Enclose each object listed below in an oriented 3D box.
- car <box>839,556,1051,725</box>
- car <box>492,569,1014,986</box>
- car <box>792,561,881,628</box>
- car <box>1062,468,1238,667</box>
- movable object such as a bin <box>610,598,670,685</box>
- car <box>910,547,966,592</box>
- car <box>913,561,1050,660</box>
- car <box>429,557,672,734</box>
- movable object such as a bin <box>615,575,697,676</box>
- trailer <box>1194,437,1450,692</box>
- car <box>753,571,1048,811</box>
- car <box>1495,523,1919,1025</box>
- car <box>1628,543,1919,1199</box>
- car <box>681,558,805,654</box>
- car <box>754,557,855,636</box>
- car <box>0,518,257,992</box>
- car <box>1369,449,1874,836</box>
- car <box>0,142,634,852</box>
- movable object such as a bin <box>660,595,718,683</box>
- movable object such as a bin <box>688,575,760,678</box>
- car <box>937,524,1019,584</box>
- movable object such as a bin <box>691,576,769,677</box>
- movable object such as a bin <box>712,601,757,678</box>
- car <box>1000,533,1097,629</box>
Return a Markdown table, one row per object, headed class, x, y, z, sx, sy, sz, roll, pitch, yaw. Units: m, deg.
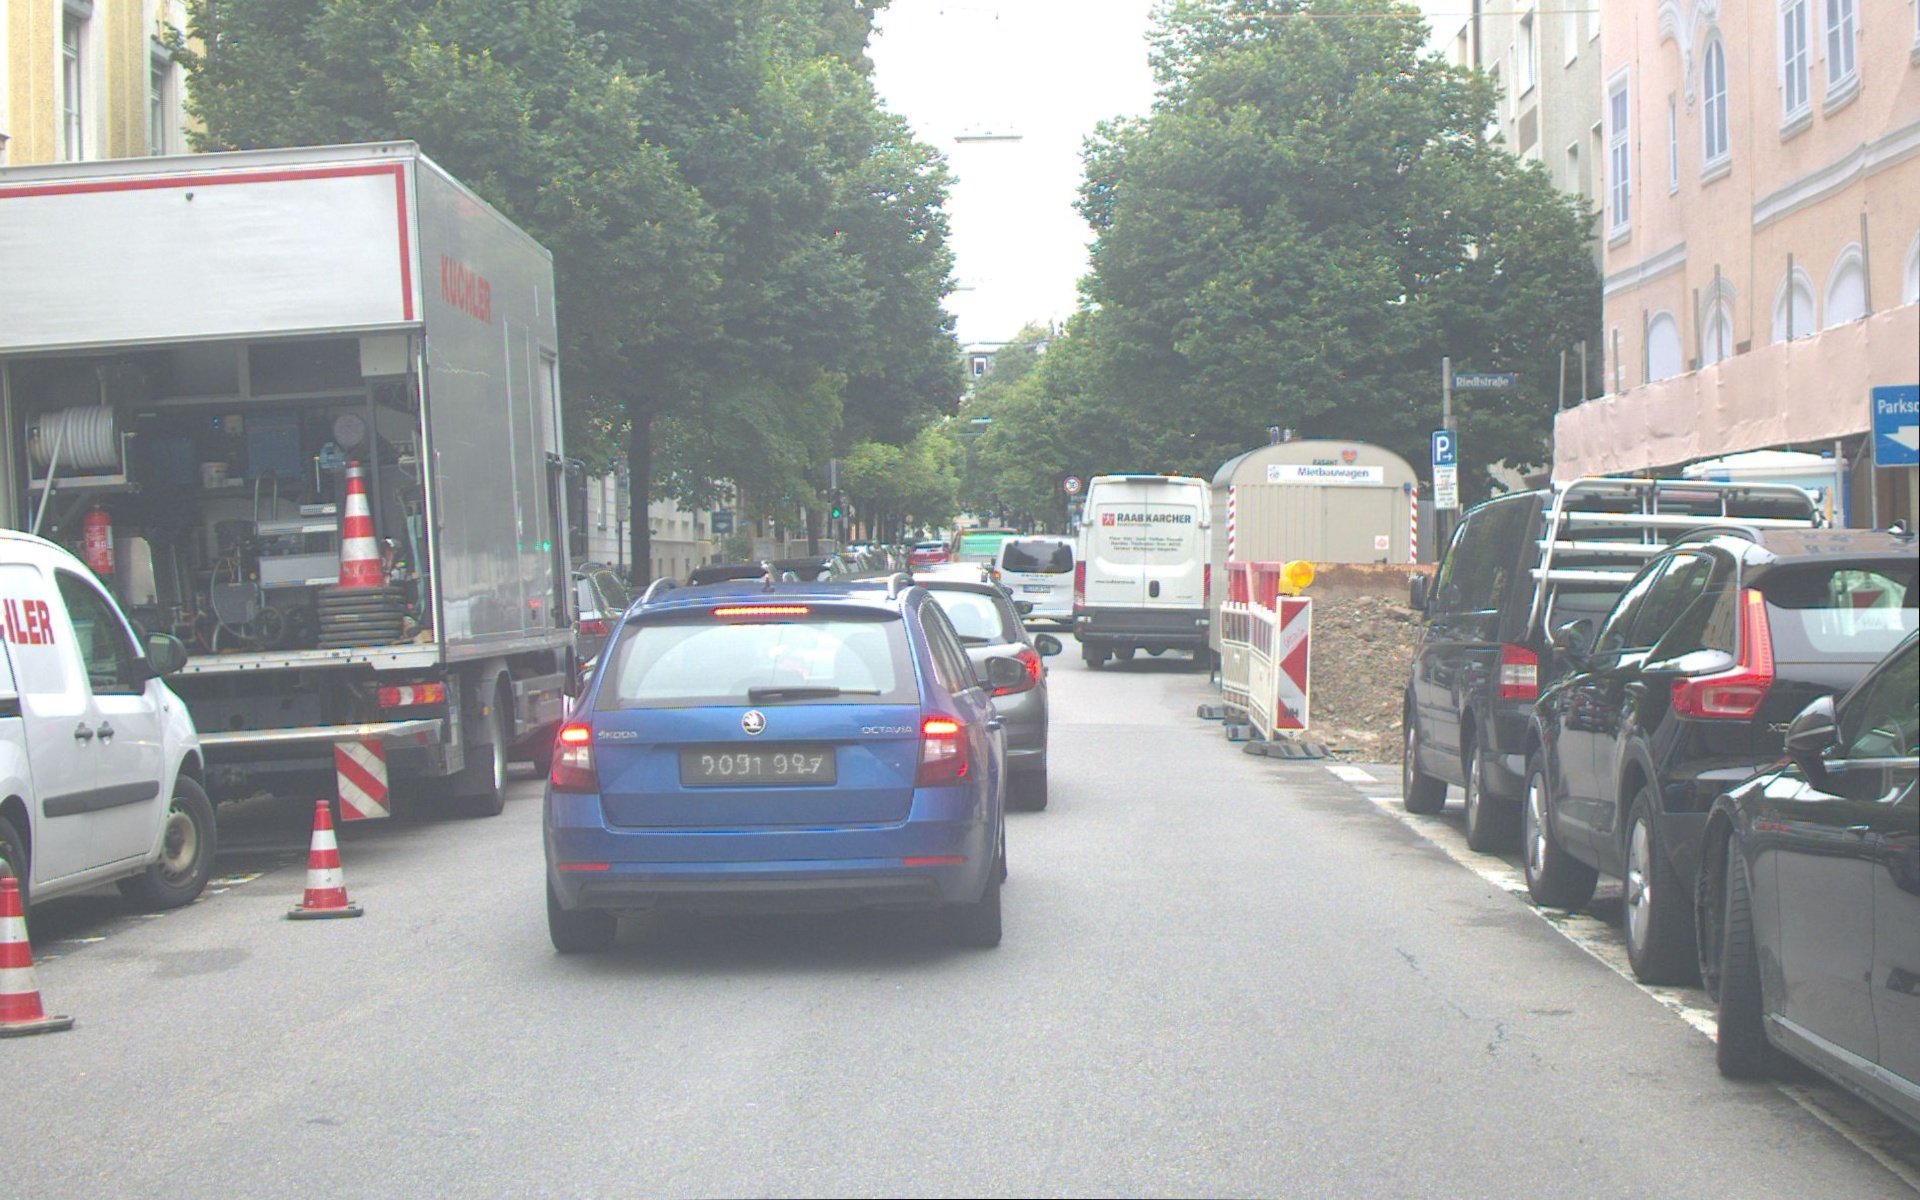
| class | x | y | z | sx | sy | sz | roll | pitch | yaw |
| --- | --- | --- | --- | --- | --- | --- | --- | --- | --- |
| car | -0.125 | 0.331 | 32.706 | 1.867 | 1.449 | 4.347 | 1 | 1 | 0 |
| car | -0.704 | 0.616 | 14.407 | 1.789 | 1.455 | 4.314 | -1 | 0 | 2 |
| car | -2.801 | -0.144 | 78.558 | 1.812 | 1.473 | 4.000 | 0 | 1 | 1 |
| car | 2.769 | -0.450 | 49.025 | 2.113 | 2.654 | 5.498 | 1 | 0 | 7 |
| movable object such as a bin | -4.375 | 0.561 | 47.025 | 0.721 | 1.134 | 0.658 | -3 | 1 | -2 |
| car | -0.840 | -1.185 | 132.655 | 2.008 | 1.647 | 4.347 | 1 | 1 | 1 |
| car | 0.362 | 0.127 | 50.837 | 1.867 | 1.343 | 4.347 | 1 | 1 | 2 |
| car | -4.056 | 0.408 | 34.671 | 1.785 | 1.623 | 4.185 | -2 | 1 | 2 |
| movable object such as a bin | -4.332 | 0.356 | 49.010 | 1.057 | 1.372 | 1.096 | -3 | 1 | -3 |
| trailer | 4.281 | -0.411 | 41.894 | 2.502 | 2.830 | 6.901 | 1 | 0 | 1 |
| car | -0.321 | 0.526 | 22.298 | 1.741 | 1.417 | 3.664 | 0 | 0 | 1 |
| car | 3.302 | 0.596 | 13.875 | 1.694 | 1.671 | 4.407 | 2 | 0 | 2 |
| car | 3.124 | 0.636 | 8.348 | 1.931 | 1.548 | 5.637 | 0 | 1 | 0 |
| car | -3.486 | 0.073 | 55.794 | 1.812 | 1.473 | 4.000 | 0 | 1 | -1 |
| car | -2.981 | -0.093 | 66.517 | 1.812 | 1.473 | 4.000 | 0 | 1 | -1 |
| car | -4.433 | 0.598 | 14.661 | 1.763 | 1.773 | 4.326 | -3 | 0 | 2 |
| car | 3.611 | 0.286 | 19.741 | 2.082 | 1.914 | 5.140 | 1 | -2 | 2 |
| car | -4.095 | -0.589 | 22.991 | 2.812 | 3.804 | 8.723 | -1 | 0 | 1 |
| movable object such as a bin | -3.707 | 0.530 | 47.065 | 0.711 | 1.144 | 0.636 | -3 | 1 | -2 |
| movable object such as a bin | -3.282 | 0.364 | 47.970 | 0.918 | 1.372 | 1.080 | -3 | 1 | -3 |
| car | 0.487 | -1.324 | 97.103 | 2.007 | 1.647 | 4.348 | 0 | 1 | -4 |
| movable object such as a bin | -3.274 | 0.365 | 49.068 | 1.020 | 1.372 | 1.104 | -3 | 1 | -3 |
| movable object such as a bin | -3.088 | 0.542 | 47.113 | 0.546 | 1.017 | 0.636 | -3 | 1 | -2 |
| car | 1.769 | -0.423 | 69.885 | 1.867 | 1.863 | 4.347 | 1 | 1 | 0 |
